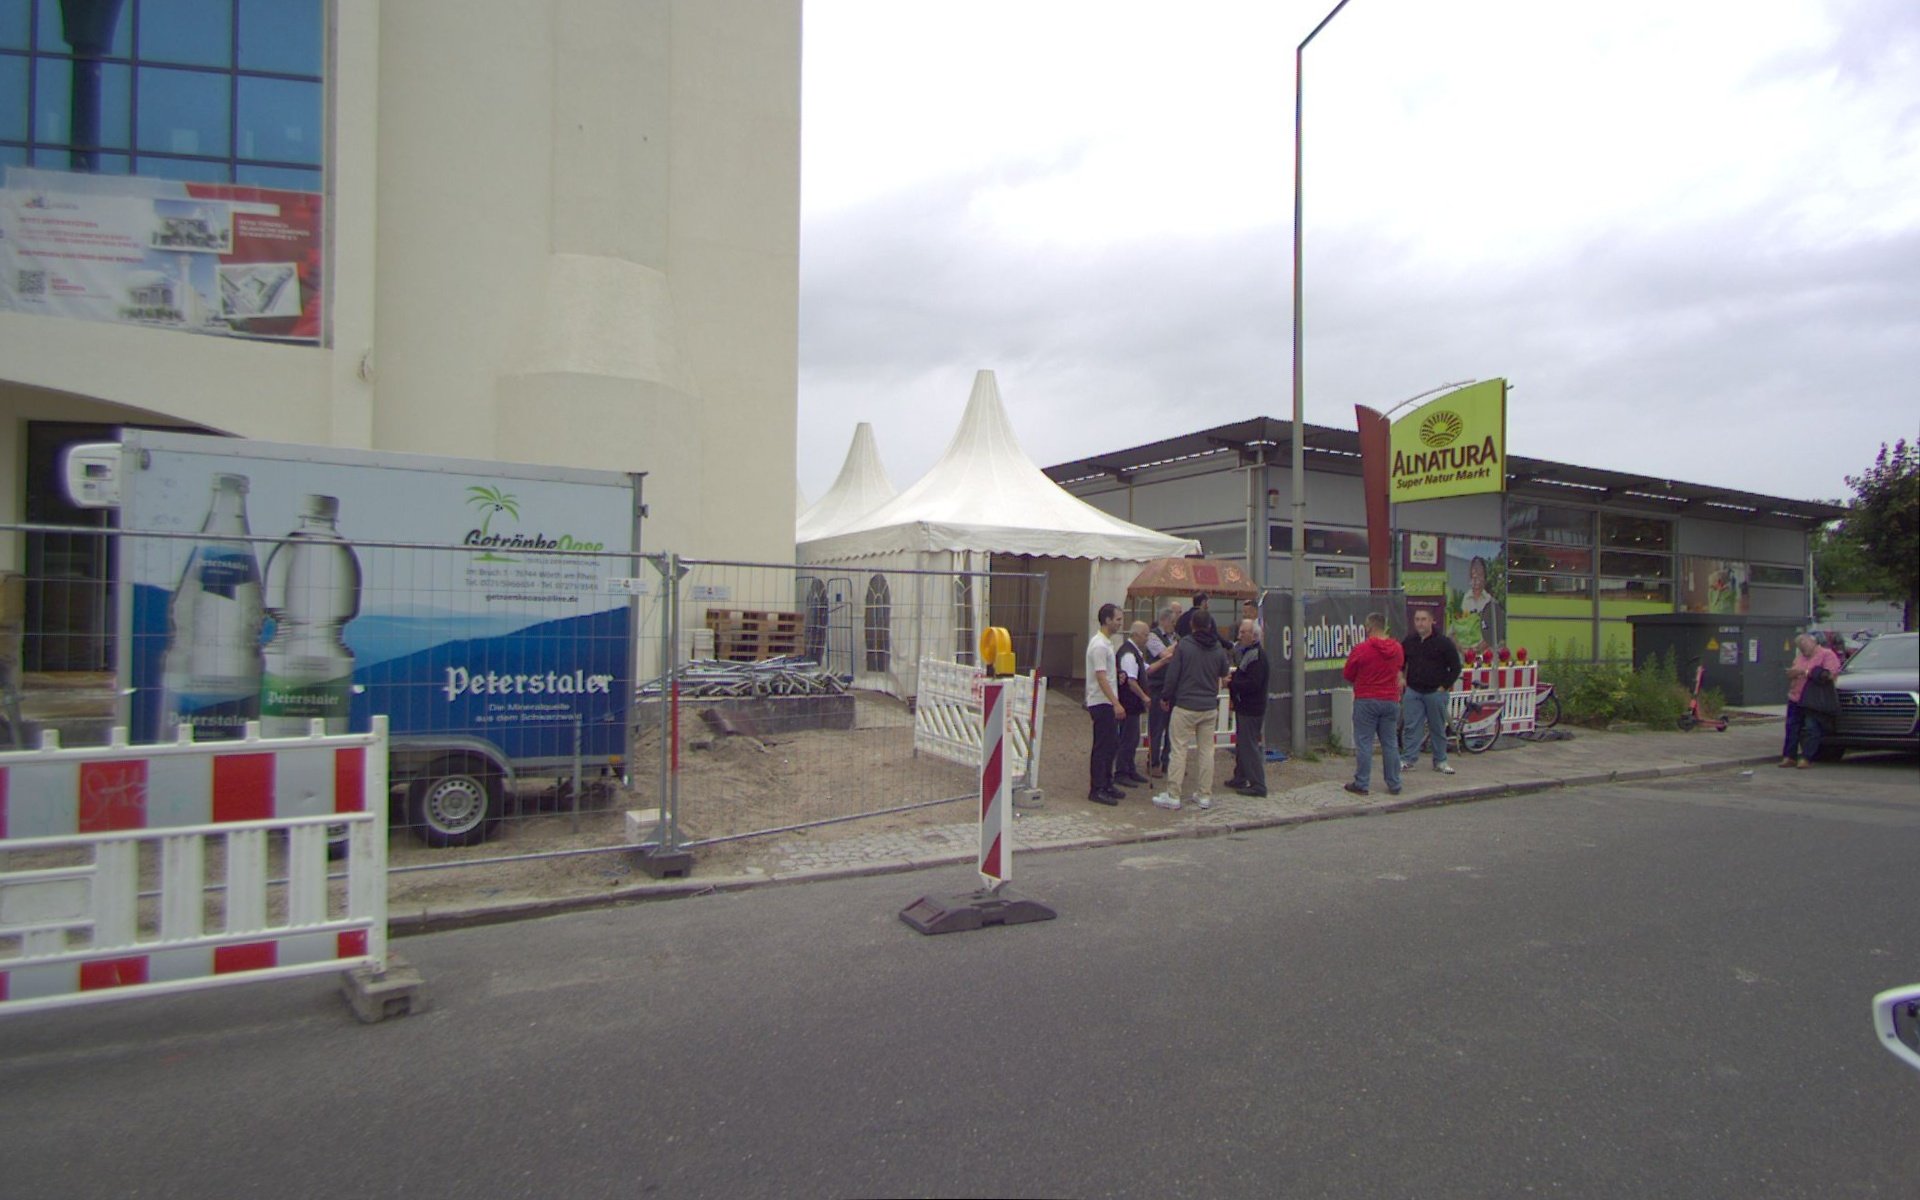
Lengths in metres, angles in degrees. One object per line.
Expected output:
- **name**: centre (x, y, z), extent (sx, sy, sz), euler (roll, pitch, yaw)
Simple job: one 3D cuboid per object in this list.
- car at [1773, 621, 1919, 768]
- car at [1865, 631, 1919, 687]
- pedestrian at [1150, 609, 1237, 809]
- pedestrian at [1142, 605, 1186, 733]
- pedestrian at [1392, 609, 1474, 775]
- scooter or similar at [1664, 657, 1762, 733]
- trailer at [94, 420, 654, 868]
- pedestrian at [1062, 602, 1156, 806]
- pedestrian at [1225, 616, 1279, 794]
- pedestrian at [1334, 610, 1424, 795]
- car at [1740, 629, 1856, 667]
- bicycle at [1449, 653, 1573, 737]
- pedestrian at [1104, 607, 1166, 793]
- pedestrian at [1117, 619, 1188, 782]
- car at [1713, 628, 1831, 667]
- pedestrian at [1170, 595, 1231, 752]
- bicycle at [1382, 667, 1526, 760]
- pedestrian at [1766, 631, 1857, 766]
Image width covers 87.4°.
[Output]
- **car**: centre (13.078, 1.194, 13.320), extent (4.670, 1.713, 1.859), euler (1, -5, -29)
- **car**: centre (30.046, 1.827, 30.144), extent (1.904, 1.642, 3.857), euler (1, 0, -28)
- **pedestrian**: centre (2.132, 0.976, 9.218), extent (0.678, 1.772, 0.491), euler (1, -1, 0)
- **pedestrian**: centre (2.695, 0.898, 13.264), extent (0.463, 1.657, 0.422), euler (1, -1, -5)
- **pedestrian**: centre (5.230, 0.991, 11.149), extent (0.673, 1.741, 0.696), euler (1, 3, 15)
- **scooter or similar**: centre (12.406, 1.534, 16.537), extent (1.621, 1.172, 0.659), euler (1, -1, -28)
- **trailer**: centre (-4.046, 0.306, 7.431), extent (3.149, 2.641, 1.792), euler (1, -2, -26)
- **pedestrian**: centre (1.354, 0.918, 9.138), extent (0.682, 1.772, 0.488), euler (1, -1, -23)
- **pedestrian**: centre (2.793, 0.975, 9.618), extent (0.481, 1.633, 0.572), euler (0, -1, 16)
- **pedestrian**: centre (4.113, 0.995, 9.885), extent (0.707, 1.778, 0.410), euler (1, -1, -4)
- **car**: centre (40.599, 2.298, 48.762), extent (1.853, 1.691, 3.970), euler (1, -1, -28)
- **bicycle**: centre (8.493, 1.435, 15.552), extent (0.387, 1.060, 1.651), euler (1, 3, -30)
- **pedestrian**: centre (1.717, 0.962, 9.879), extent (0.518, 1.772, 0.491), euler (1, -1, 1)
- **pedestrian**: centre (2.027, 1.030, 10.577), extent (0.531, 1.633, 0.489), euler (2, 0, 33)
- **car**: centre (38.373, 2.214, 47.558), extent (1.853, 1.691, 3.970), euler (1, -1, -28)
- **pedestrian**: centre (2.982, 0.890, 12.459), extent (0.626, 1.890, 0.389), euler (0, -1, 38)
- **bicycle**: centre (6.284, 1.420, 12.764), extent (1.874, 1.092, 0.542), euler (2, -1, -23)
- **pedestrian**: centre (10.765, 1.224, 12.704), extent (0.645, 1.643, 0.670), euler (1, -2, -29)
